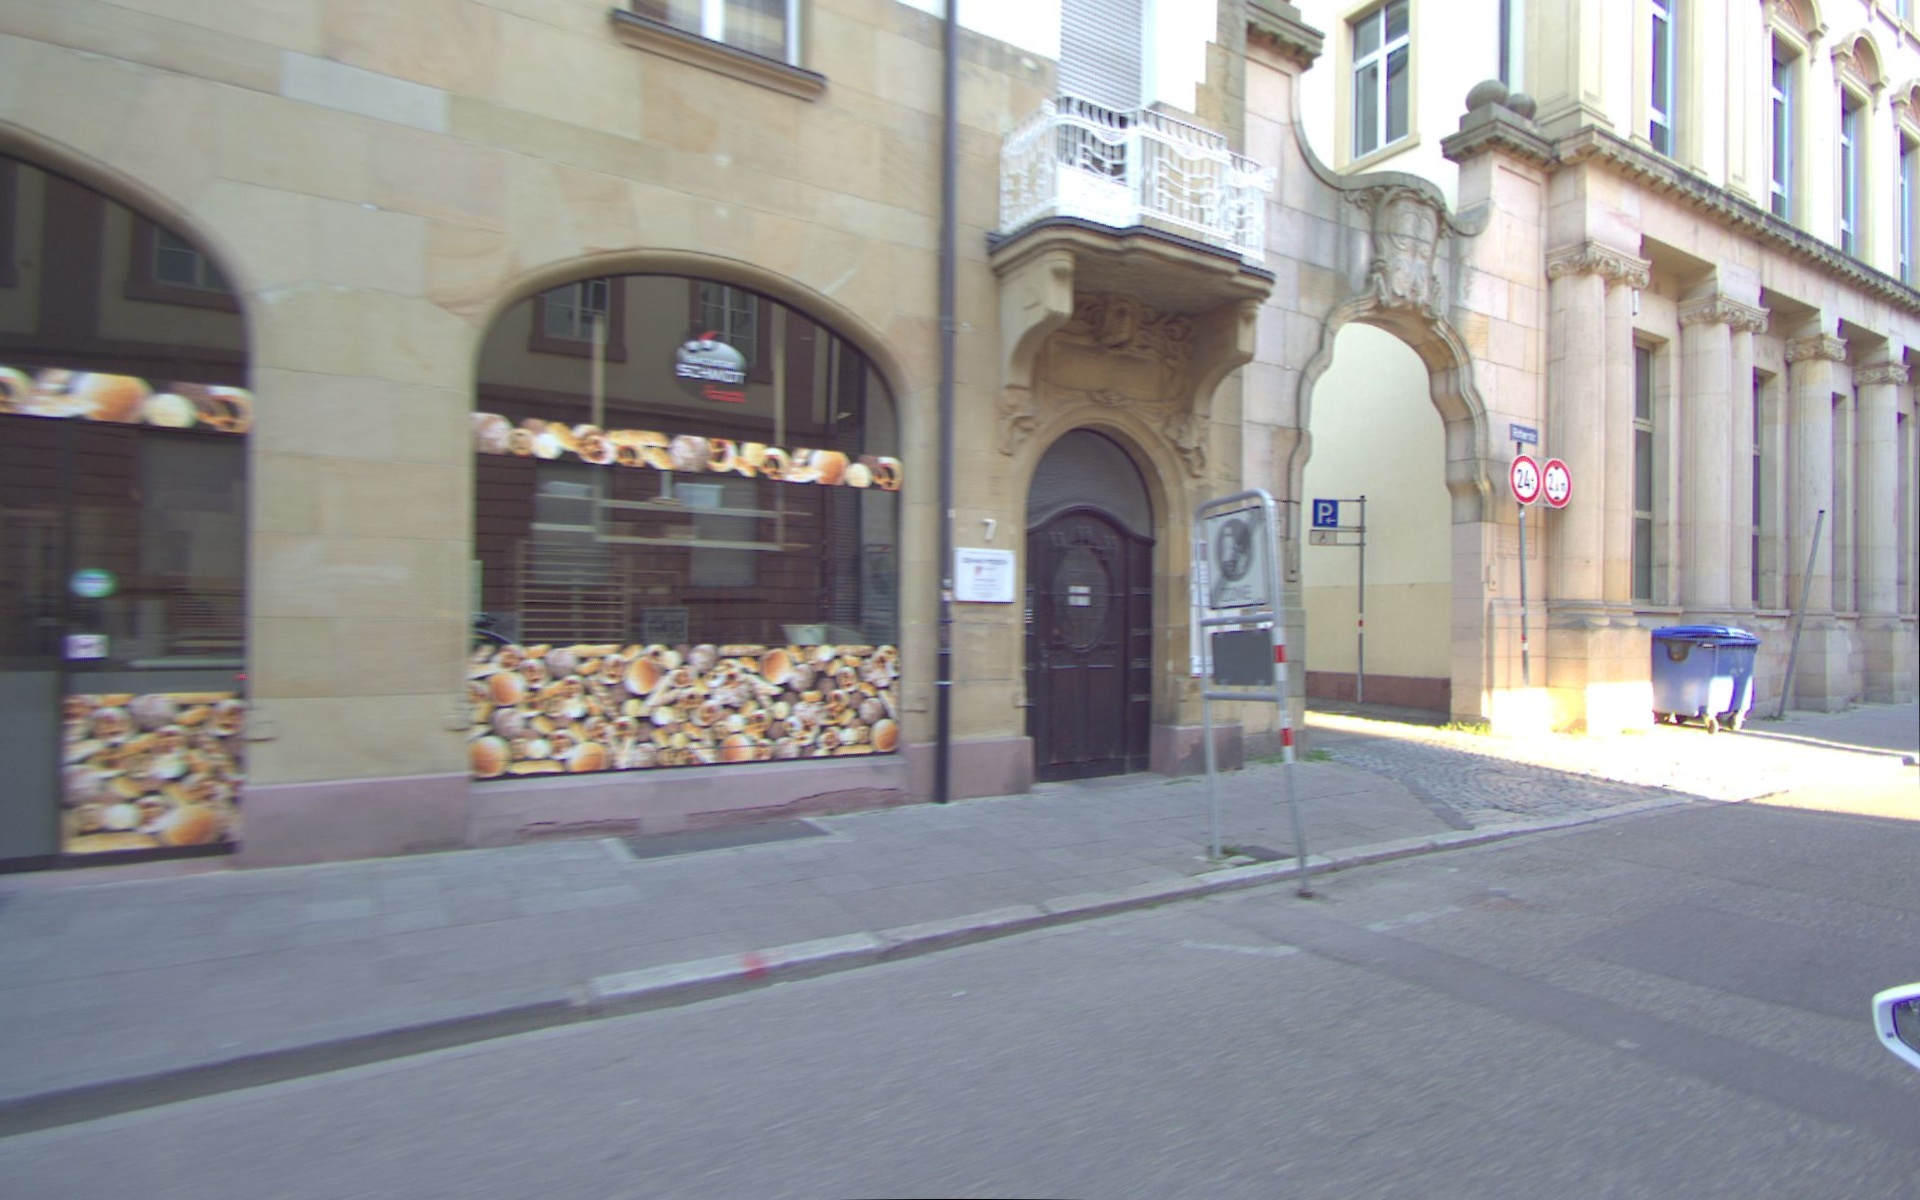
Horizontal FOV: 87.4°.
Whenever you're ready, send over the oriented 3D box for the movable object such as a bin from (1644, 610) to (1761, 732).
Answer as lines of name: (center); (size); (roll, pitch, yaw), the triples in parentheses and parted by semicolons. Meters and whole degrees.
movable object such as a bin: (9.875, 0.906, 13.355); (1.276, 1.523, 0.825); (1, 0, -31)
